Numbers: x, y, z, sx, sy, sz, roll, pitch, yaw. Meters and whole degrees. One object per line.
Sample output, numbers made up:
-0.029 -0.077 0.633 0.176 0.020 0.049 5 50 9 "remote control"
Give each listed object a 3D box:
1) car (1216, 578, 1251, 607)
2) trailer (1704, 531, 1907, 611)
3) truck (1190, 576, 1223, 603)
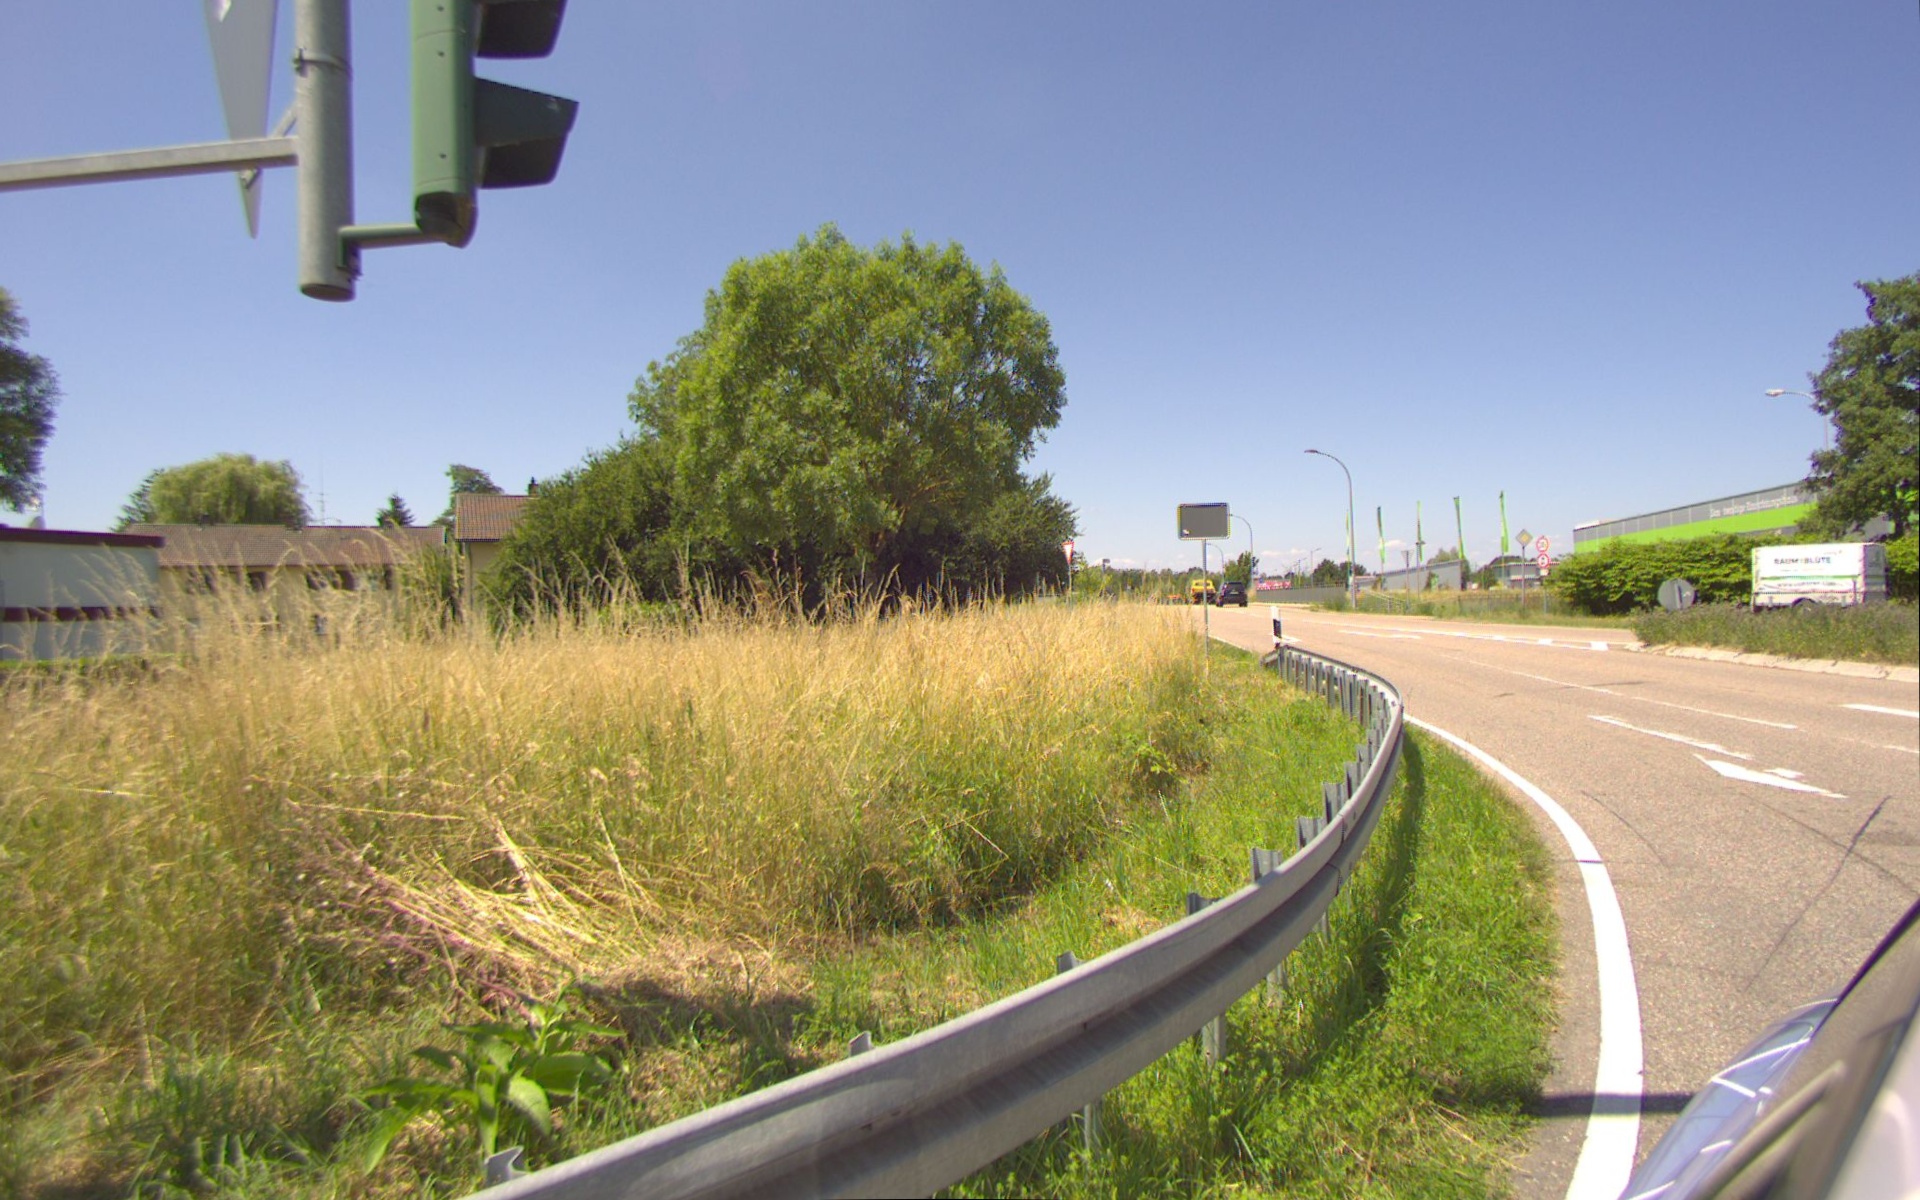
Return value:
17.749 -0.501 65.864 1.878 1.723 3.989 -1 3 11 "car"
23.927 -0.773 28.805 1.819 2.039 3.965 -3 1 -27 "trailer"
22.311 -0.980 92.004 2.281 2.367 9.026 0 1 10 "truck"
